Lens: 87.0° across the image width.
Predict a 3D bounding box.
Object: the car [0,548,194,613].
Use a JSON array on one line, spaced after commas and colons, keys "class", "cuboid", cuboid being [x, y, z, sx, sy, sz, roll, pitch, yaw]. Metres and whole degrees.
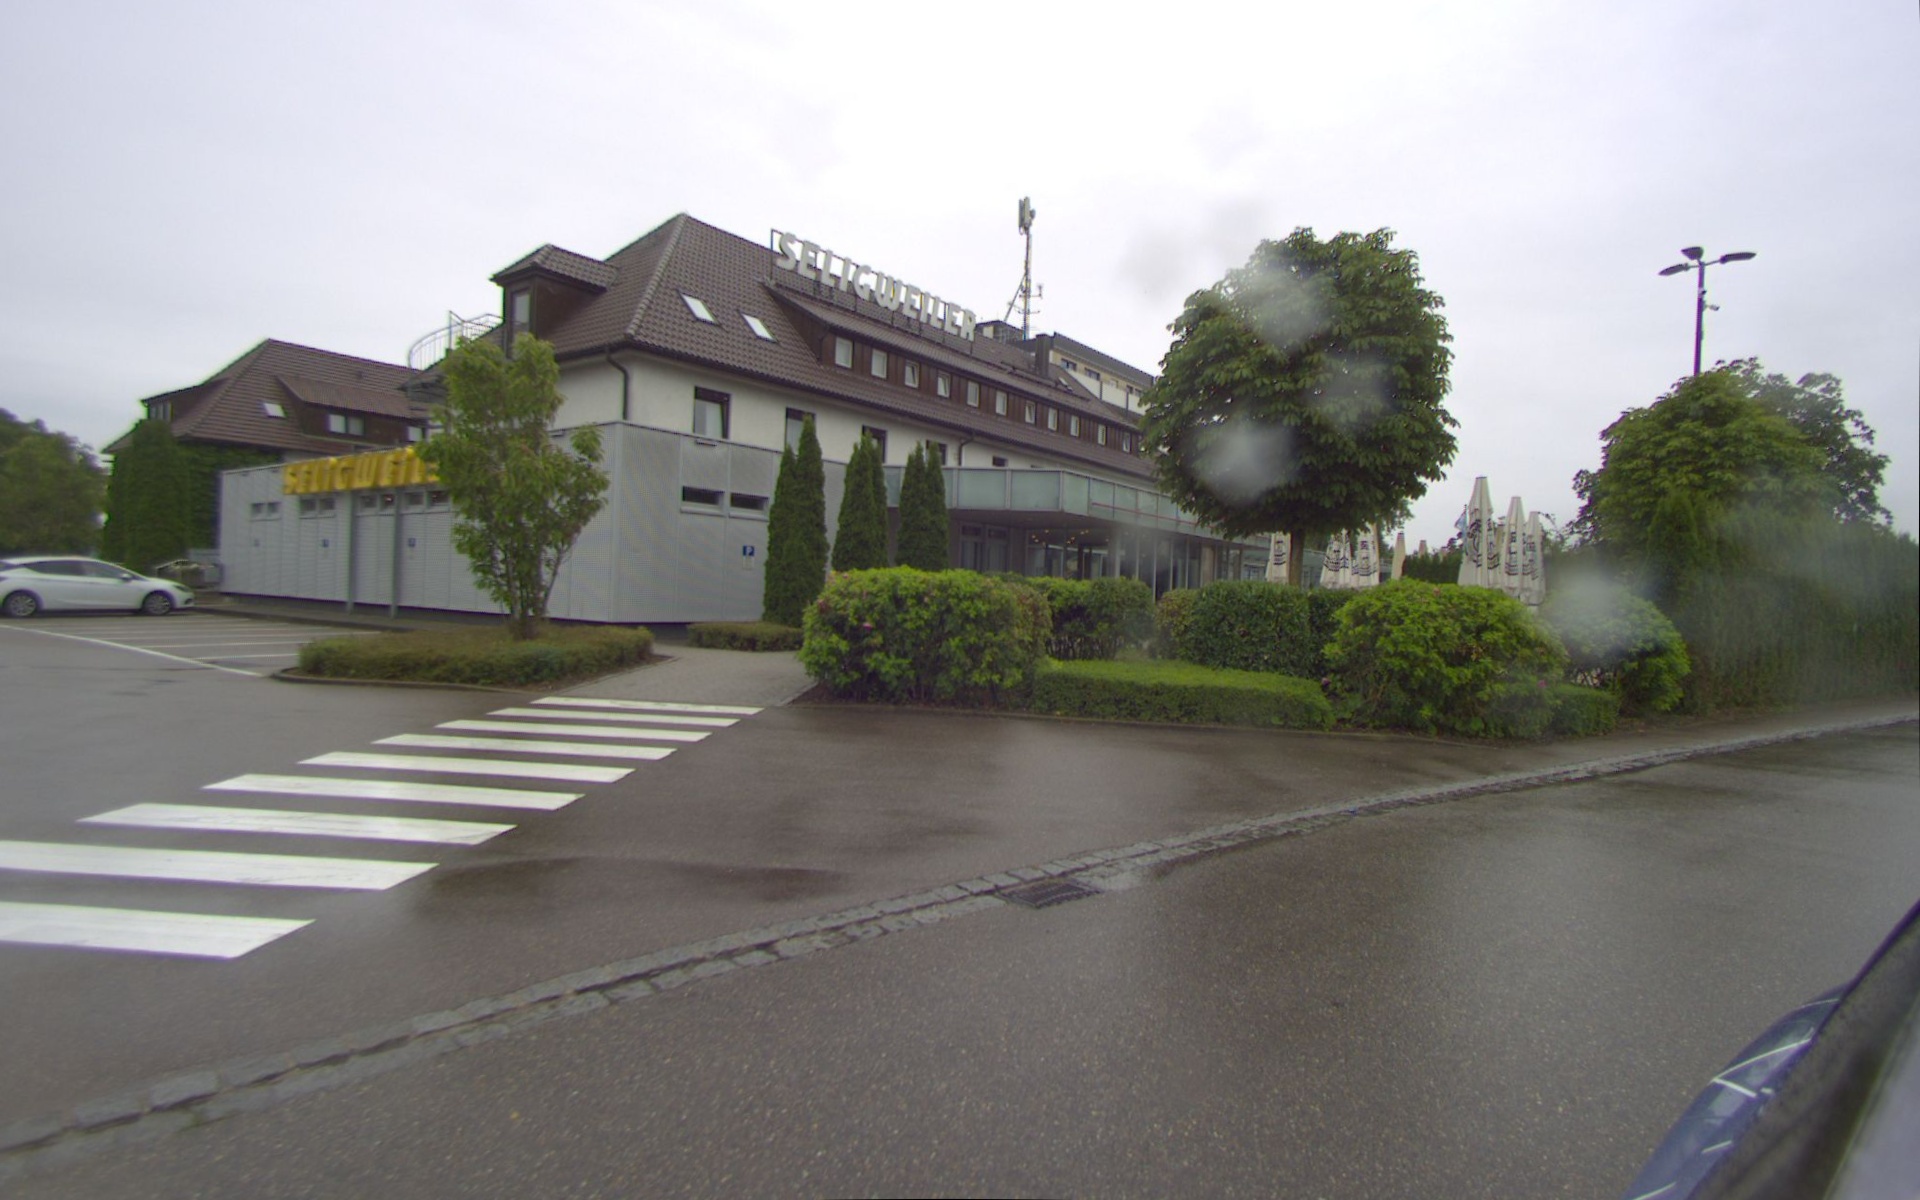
[{"class": "car", "cuboid": [-21.978, -0.490, 25.377, 1.708, 1.516, 4.135, 2, 2, 36]}]
